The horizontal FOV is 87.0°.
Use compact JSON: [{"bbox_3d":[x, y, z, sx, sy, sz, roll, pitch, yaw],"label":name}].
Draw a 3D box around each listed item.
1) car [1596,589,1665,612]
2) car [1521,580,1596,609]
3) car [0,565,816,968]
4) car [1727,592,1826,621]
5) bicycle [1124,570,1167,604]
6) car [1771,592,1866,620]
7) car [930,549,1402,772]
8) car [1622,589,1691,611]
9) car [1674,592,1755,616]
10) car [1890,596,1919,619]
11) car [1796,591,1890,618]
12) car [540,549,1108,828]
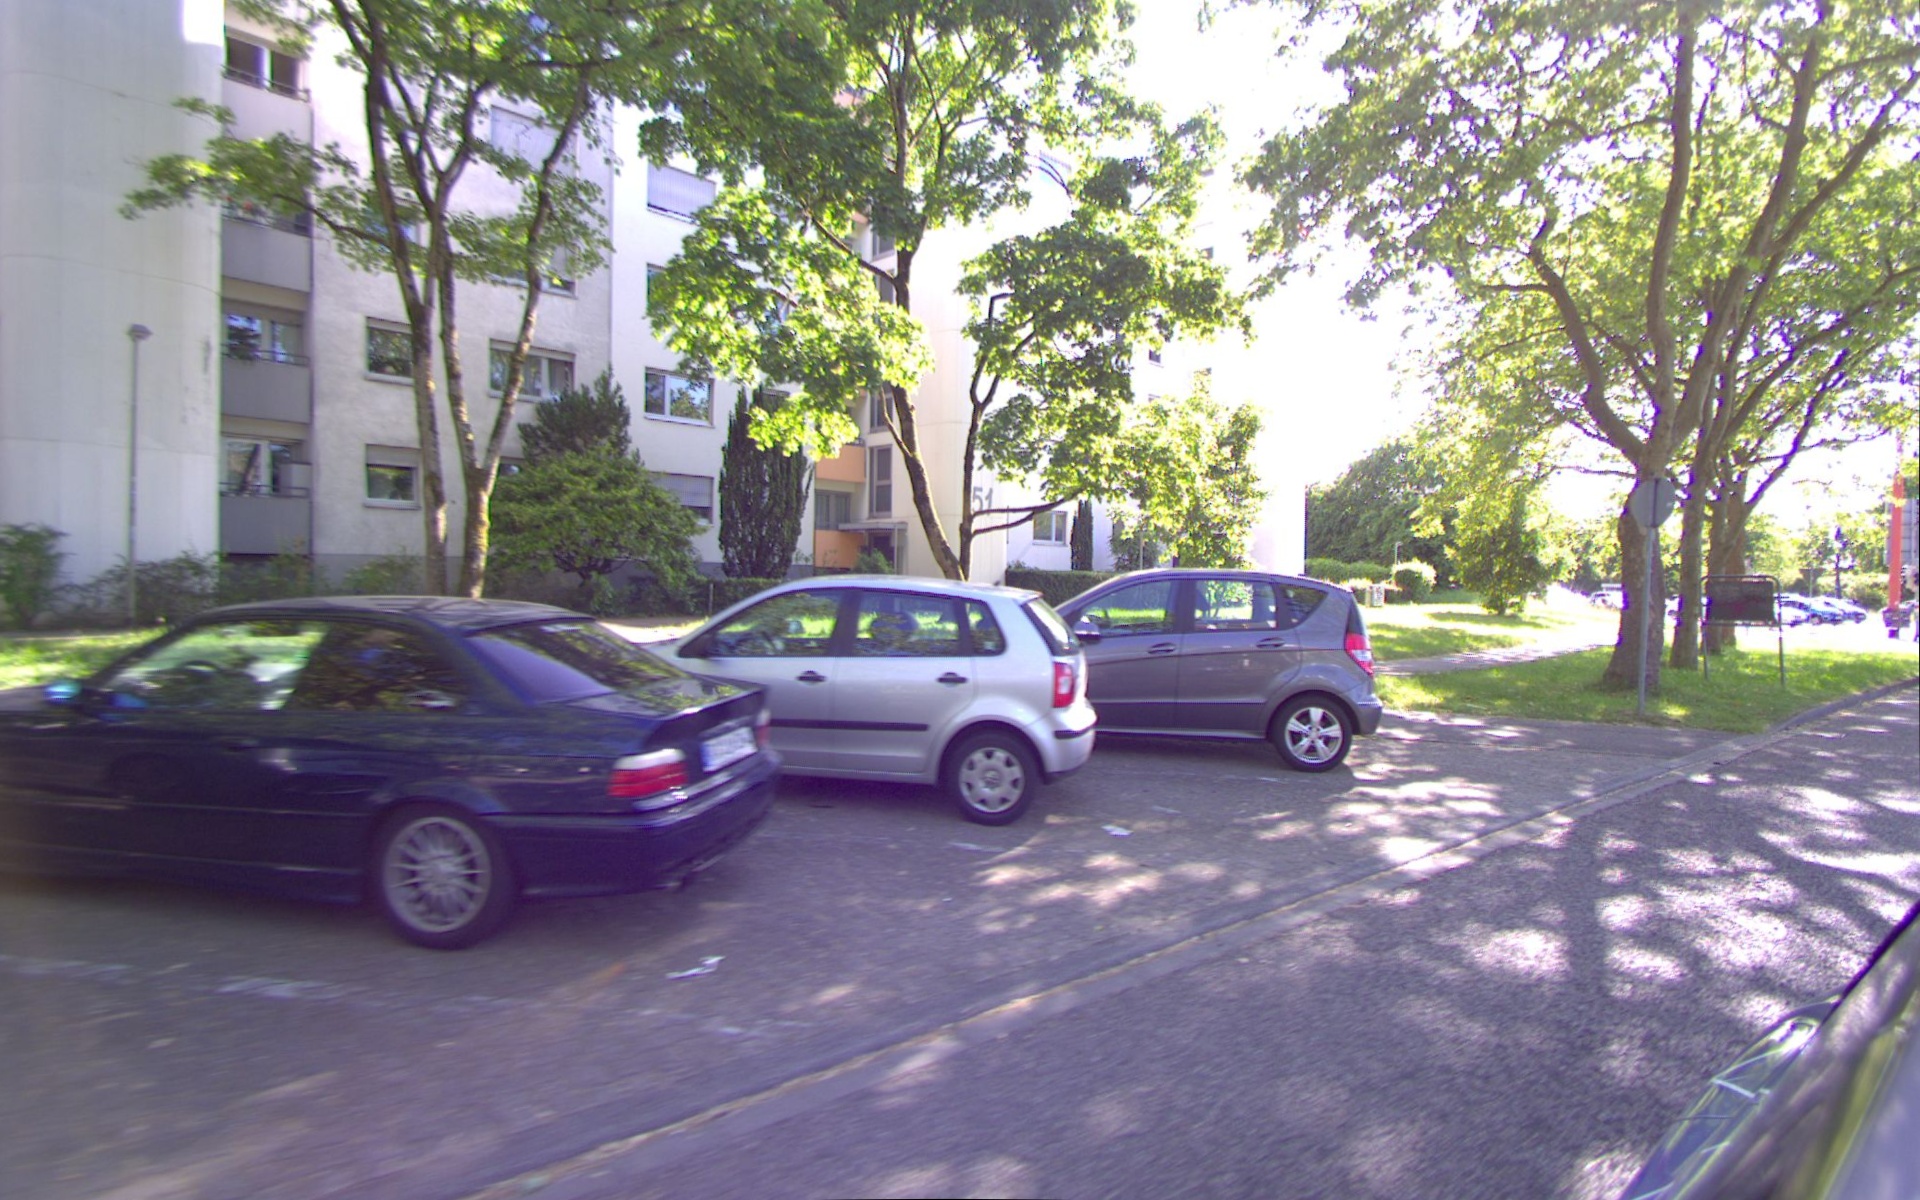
[{"bbox_3d":[47.399,-0.001,71.625,1.762,1.525,4.008,-1,1,-12],"label":"car"},{"bbox_3d":[46.294,-0.438,78.456,2.049,2.113,5.204,-1,1,-12],"label":"car"},{"bbox_3d":[-2.943,0.563,4.906,4.080,1.334,1.795,2,2,10],"label":"car"},{"bbox_3d":[46.815,0.353,58.152,1.762,1.500,4.294,-1,1,-12],"label":"car"},{"bbox_3d":[6.468,-0.440,35.241,0.499,1.120,1.772,8,5,43],"label":"bicycle"},{"bbox_3d":[50.229,0.309,59.290,1.762,1.500,4.008,-1,1,-12],"label":"car"},{"bbox_3d":[1.717,0.431,9.028,3.666,1.612,1.796,2,2,10],"label":"car"},{"bbox_3d":[50.605,-0.054,73.638,1.762,1.500,4.008,-1,1,-12],"label":"car"},{"bbox_3d":[48.676,0.215,65.355,1.762,1.409,4.008,-1,1,-12],"label":"car"},{"bbox_3d":[65.801,0.538,68.565,1.579,1.529,3.795,1,1,-18],"label":"car"},{"bbox_3d":[53.302,0.246,61.201,1.762,1.500,4.008,-1,1,-12],"label":"car"},{"bbox_3d":[-0.783,0.477,7.027,3.525,1.510,1.796,2,2,9],"label":"car"}]
